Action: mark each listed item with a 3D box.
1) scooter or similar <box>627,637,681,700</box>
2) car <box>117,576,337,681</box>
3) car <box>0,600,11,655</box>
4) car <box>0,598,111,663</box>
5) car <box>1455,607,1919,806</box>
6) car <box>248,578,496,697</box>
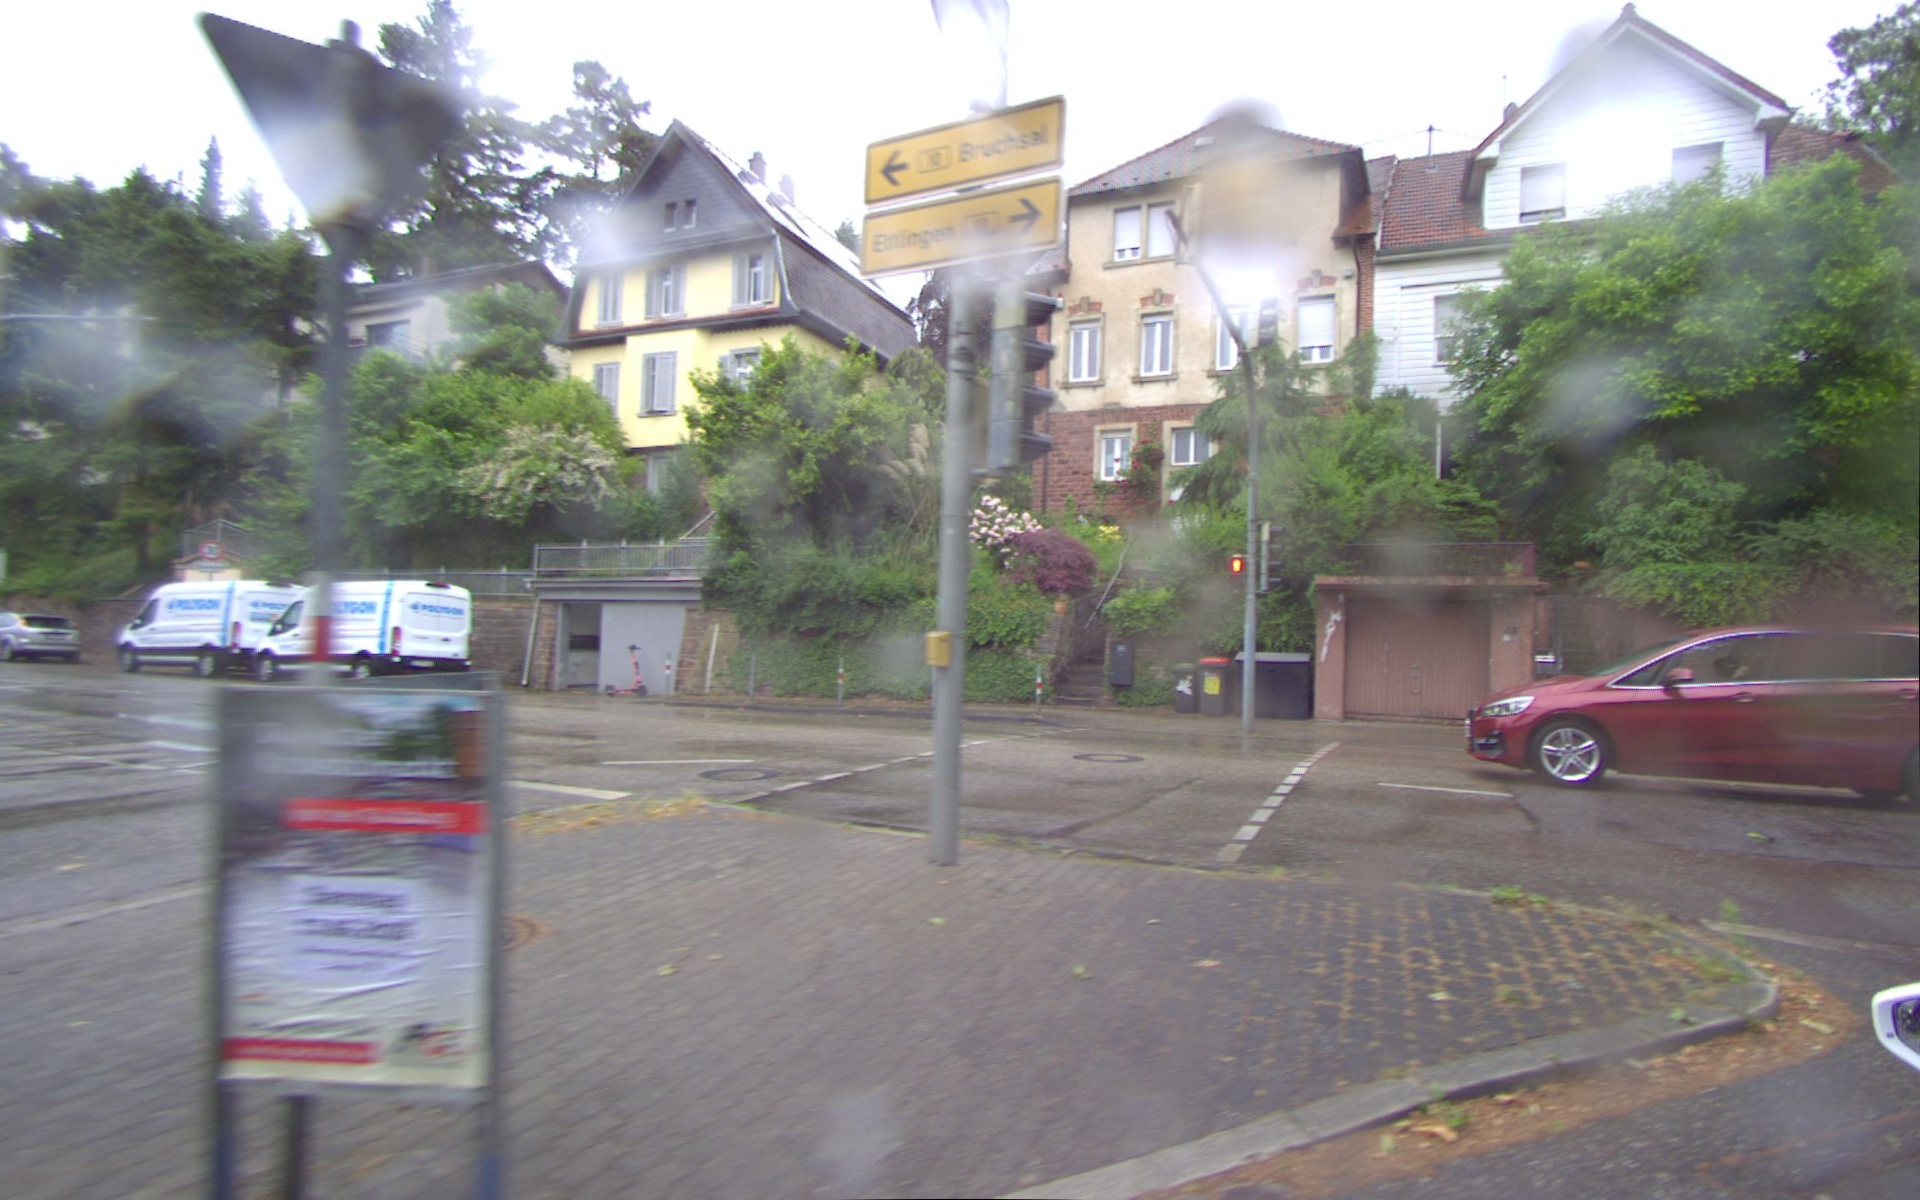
[{"bbox_3d":[-6.641,1.491,21.837,1.076,1.352,0.460,2,-3,-18],"label":"scooter or similar"},{"bbox_3d":[-19.683,0.744,26.956,5.476,2.526,2.314,2,-3,26],"label":"car"},{"bbox_3d":[-35.490,0.822,34.630,5.476,1.878,2.109,2,-3,26],"label":"car"},{"bbox_3d":[-29.661,0.910,31.806,5.476,1.878,2.109,2,-3,26],"label":"car"},{"bbox_3d":[7.223,0.936,9.497,4.497,1.621,1.774,-1,-4,25],"label":"car"},{"bbox_3d":[-14.158,0.865,24.167,5.572,2.526,2.314,2,-3,26],"label":"car"}]
